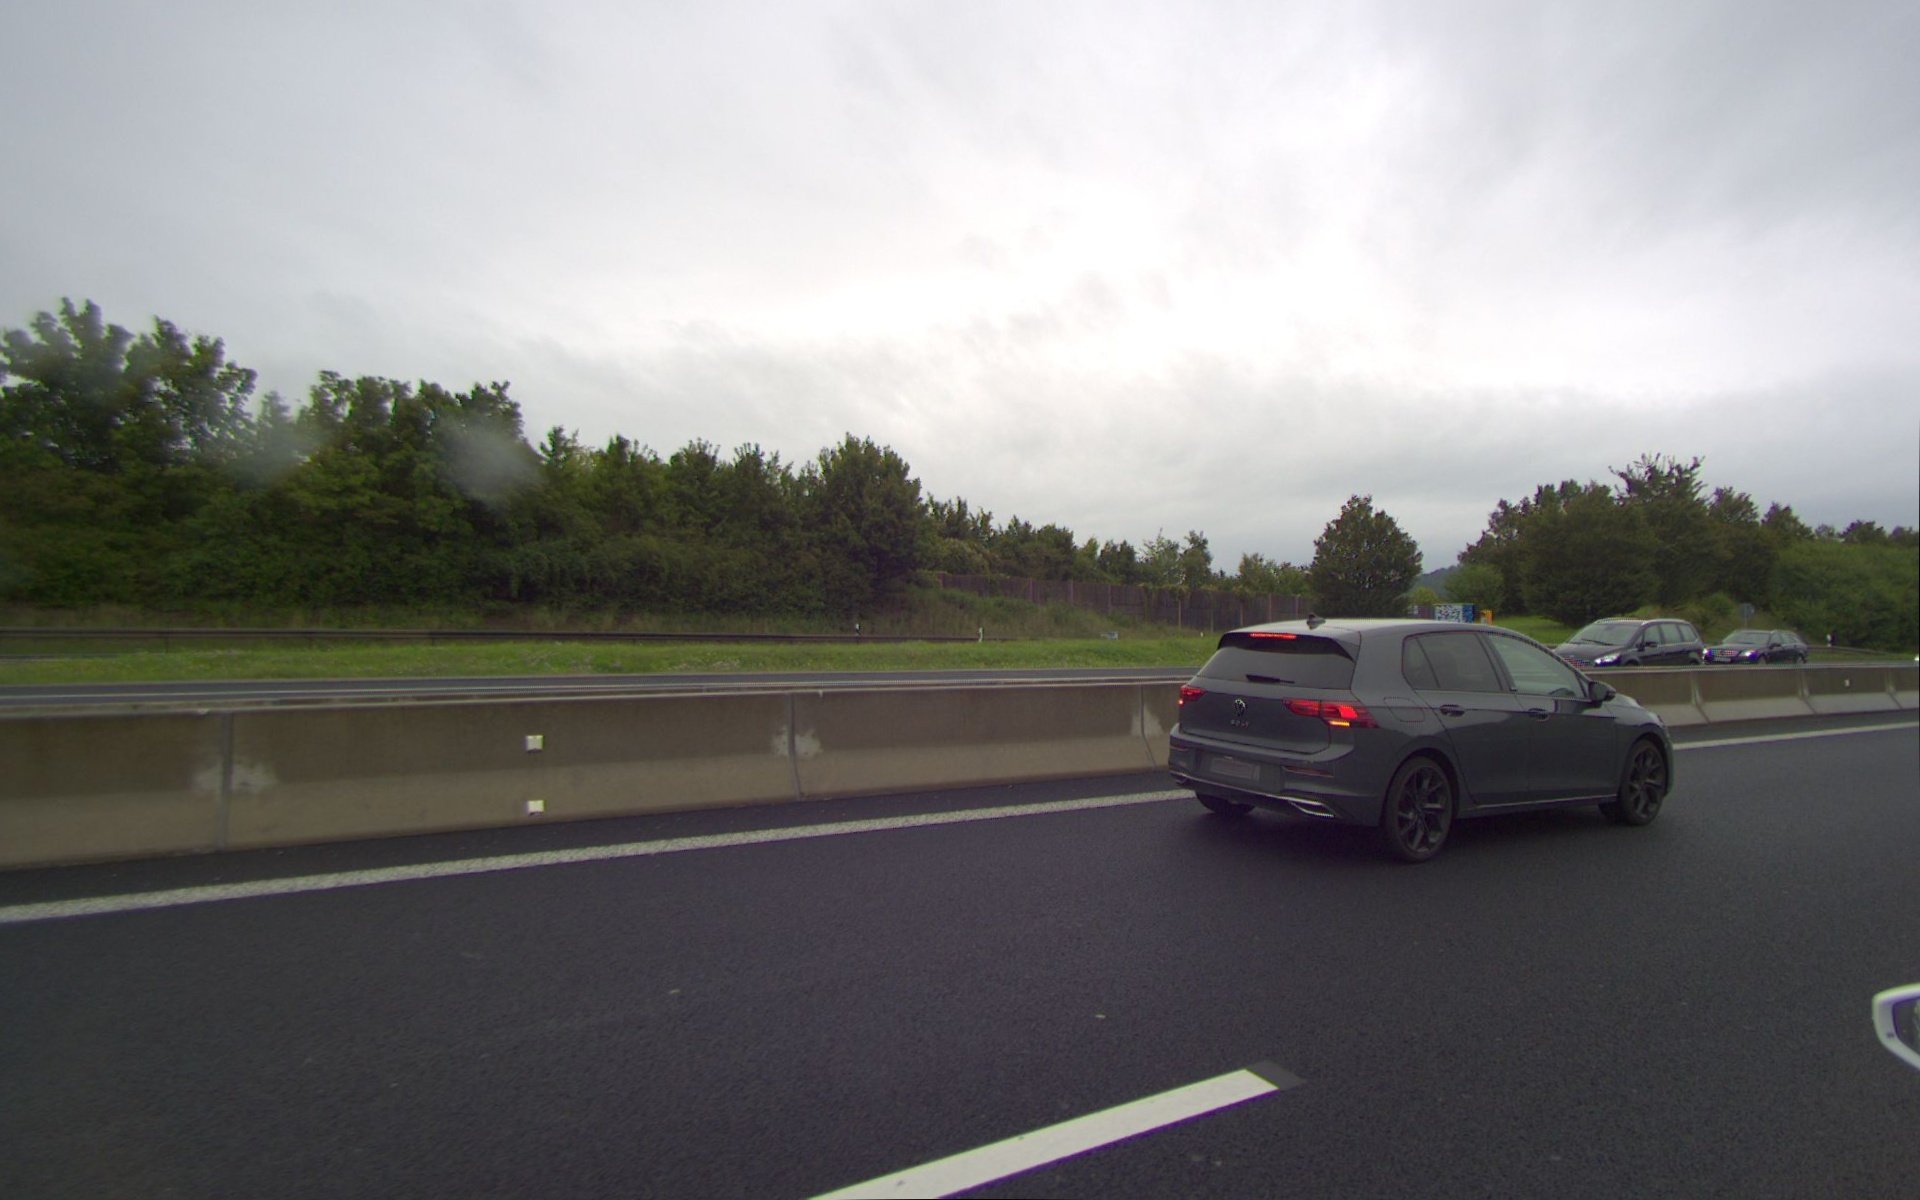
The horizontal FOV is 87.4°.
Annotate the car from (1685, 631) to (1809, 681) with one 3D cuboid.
[{"bbox_3d":[27.706,1.921,35.329,4.369,1.636,1.973,1,-1,-30],"label":"car"}]

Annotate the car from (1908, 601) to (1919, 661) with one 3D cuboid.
[{"bbox_3d":[33.183,1.063,32.983,4.126,1.927,1.983,2,0,-32],"label":"car"}]

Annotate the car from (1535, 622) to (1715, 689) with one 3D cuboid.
[{"bbox_3d":[16.661,1.333,25.122,4.583,1.526,1.973,1,-1,-30],"label":"car"}]

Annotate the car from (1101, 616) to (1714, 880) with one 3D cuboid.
[{"bbox_3d":[3.366,0.852,7.377,4.405,1.424,1.892,1,-1,-30],"label":"car"}]
